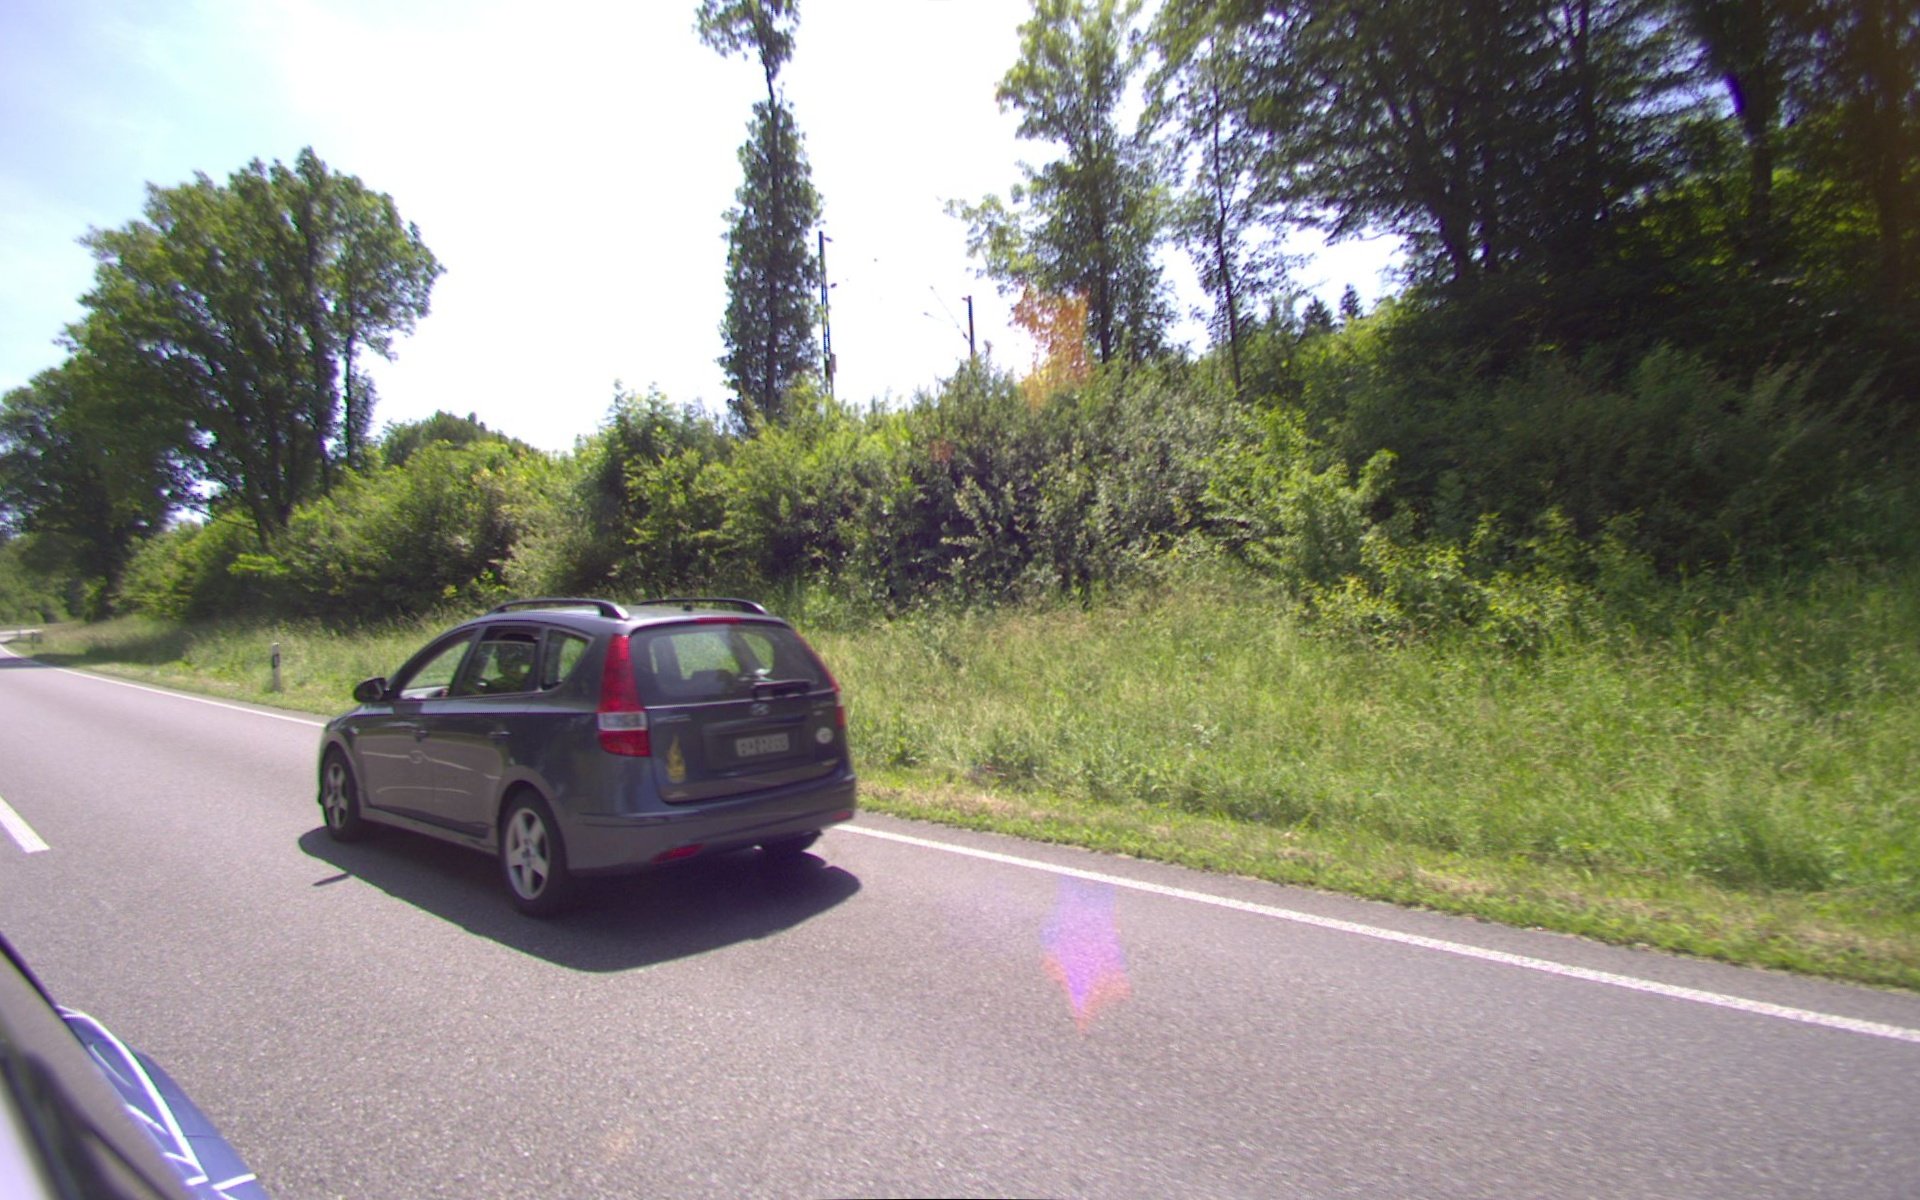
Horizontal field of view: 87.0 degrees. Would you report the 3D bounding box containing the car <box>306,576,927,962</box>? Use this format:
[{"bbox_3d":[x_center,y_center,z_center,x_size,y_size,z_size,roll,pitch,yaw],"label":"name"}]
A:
[{"bbox_3d":[-2.338,0.737,6.223,4.216,1.582,1.753,-2,-1,41],"label":"car"}]

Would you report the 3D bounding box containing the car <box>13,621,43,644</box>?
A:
[{"bbox_3d":[-83.976,2.902,91.210,1.970,2.029,4.004,0,-1,-43],"label":"car"}]
